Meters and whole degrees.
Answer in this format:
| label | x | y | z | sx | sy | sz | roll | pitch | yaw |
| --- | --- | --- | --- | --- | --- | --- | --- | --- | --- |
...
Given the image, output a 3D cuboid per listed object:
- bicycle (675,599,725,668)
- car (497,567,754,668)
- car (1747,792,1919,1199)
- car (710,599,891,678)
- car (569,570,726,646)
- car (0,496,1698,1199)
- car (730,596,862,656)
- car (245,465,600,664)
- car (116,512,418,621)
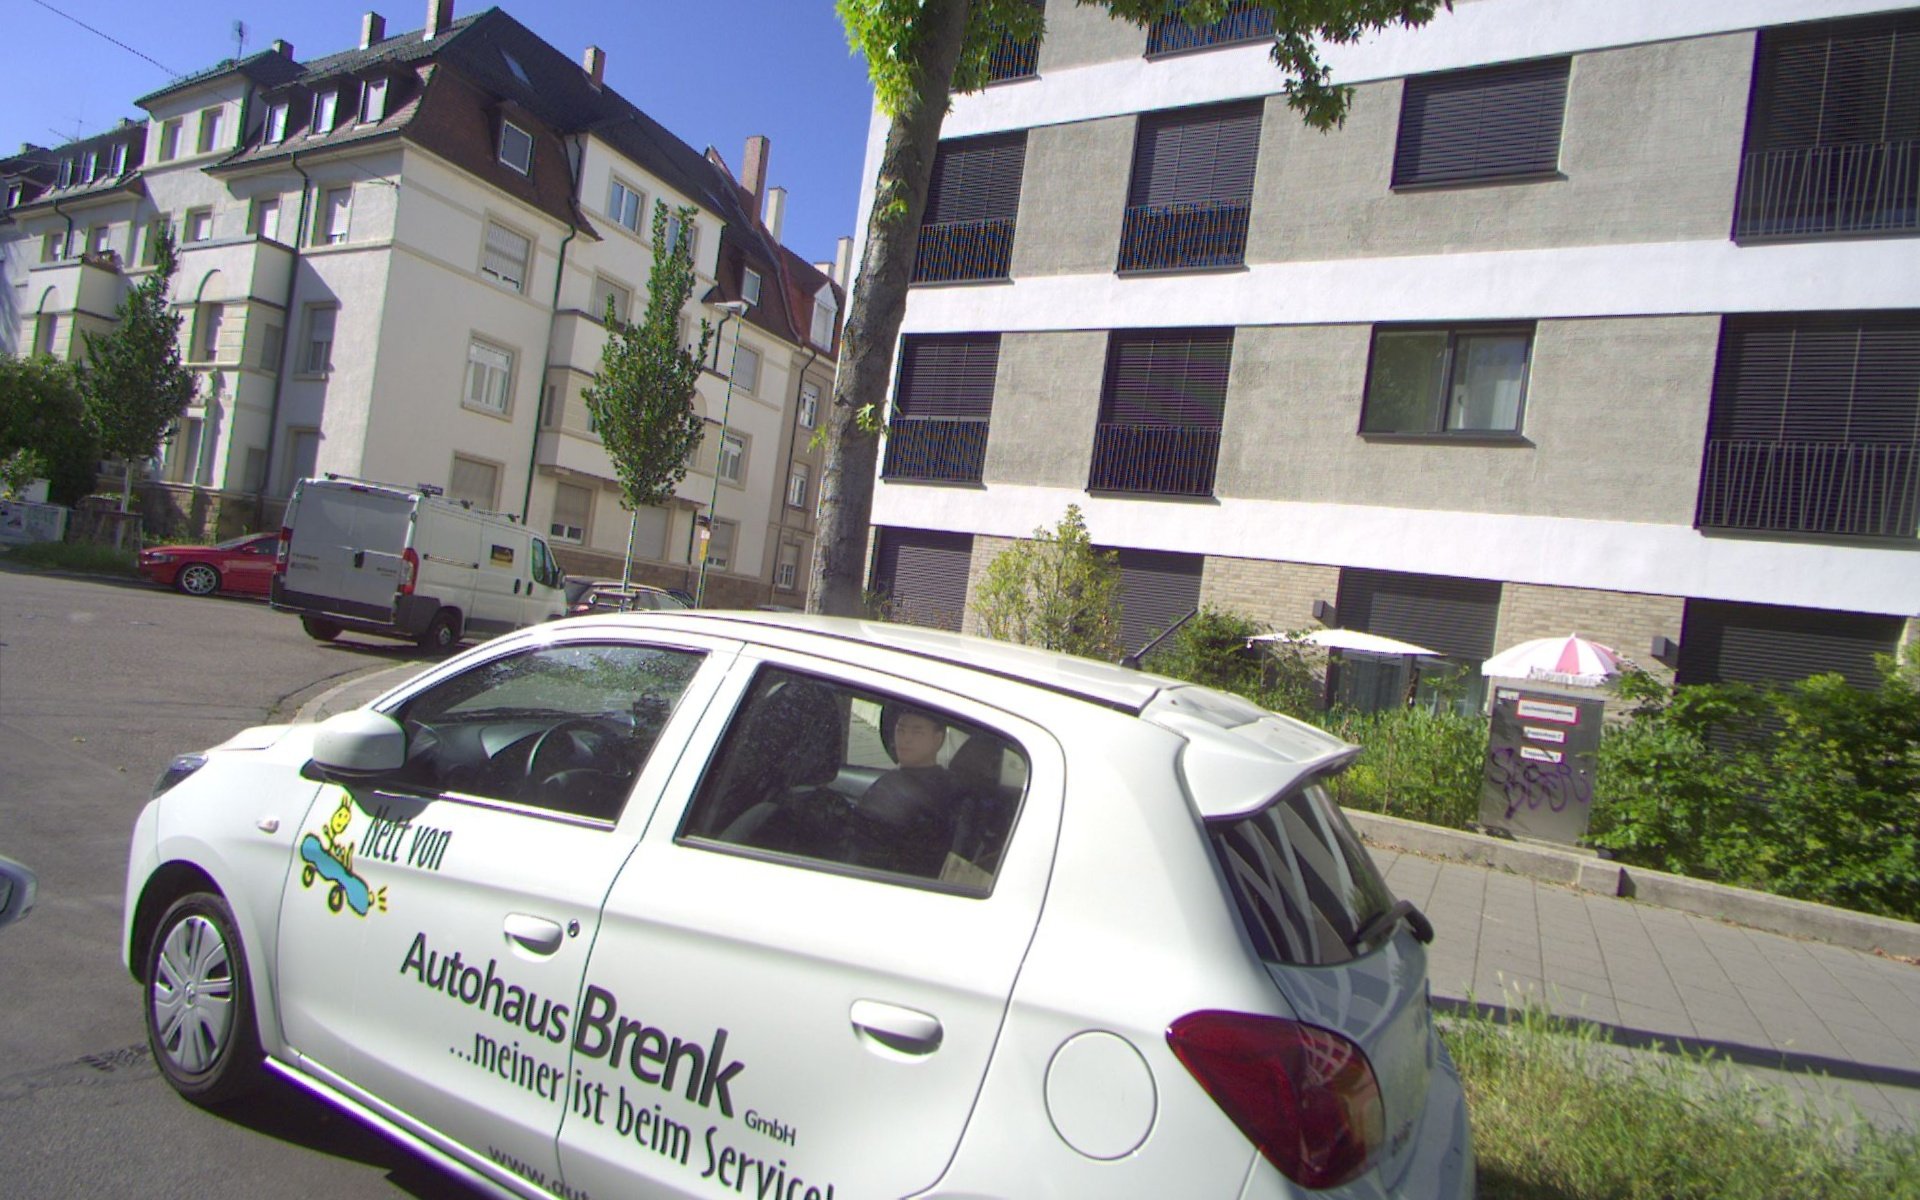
| label | x | y | z | sx | sy | sz | roll | pitch | yaw |
| --- | --- | --- | --- | --- | --- | --- | --- | --- | --- |
| bicycle | -5.025 | 0.646 | 19.570 | 0.652 | 1.187 | 1.990 | 8 | -2 | -10 |
| car | -6.696 | 0.450 | 20.804 | 2.012 | 1.486 | 4.941 | 8 | -2 | 27 |
| car | 3.264 | 1.290 | 0.613 | 4.106 | 1.466 | 1.676 | 7 | -3 | 28 |
| car | -4.000 | 1.073 | 26.242 | 1.927 | 1.445 | 4.941 | 9 | -1 | 28 |
| car | -8.984 | 0.287 | 29.314 | 1.802 | 1.660 | 4.182 | 7 | -2 | 28 |
| car | -0.627 | 0.750 | 2.794 | 3.939 | 1.504 | 1.738 | 7 | -2 | 28 |
| car | -5.696 | 0.976 | 35.658 | 1.796 | 1.486 | 4.941 | 7 | -2 | 30 |
| car | -7.982 | -0.369 | 15.735 | 2.192 | 2.332 | 5.062 | 8 | -1 | 6 |
| car | -14.060 | -0.633 | 20.642 | 1.927 | 1.486 | 4.712 | 6 | -3 | 43 |
